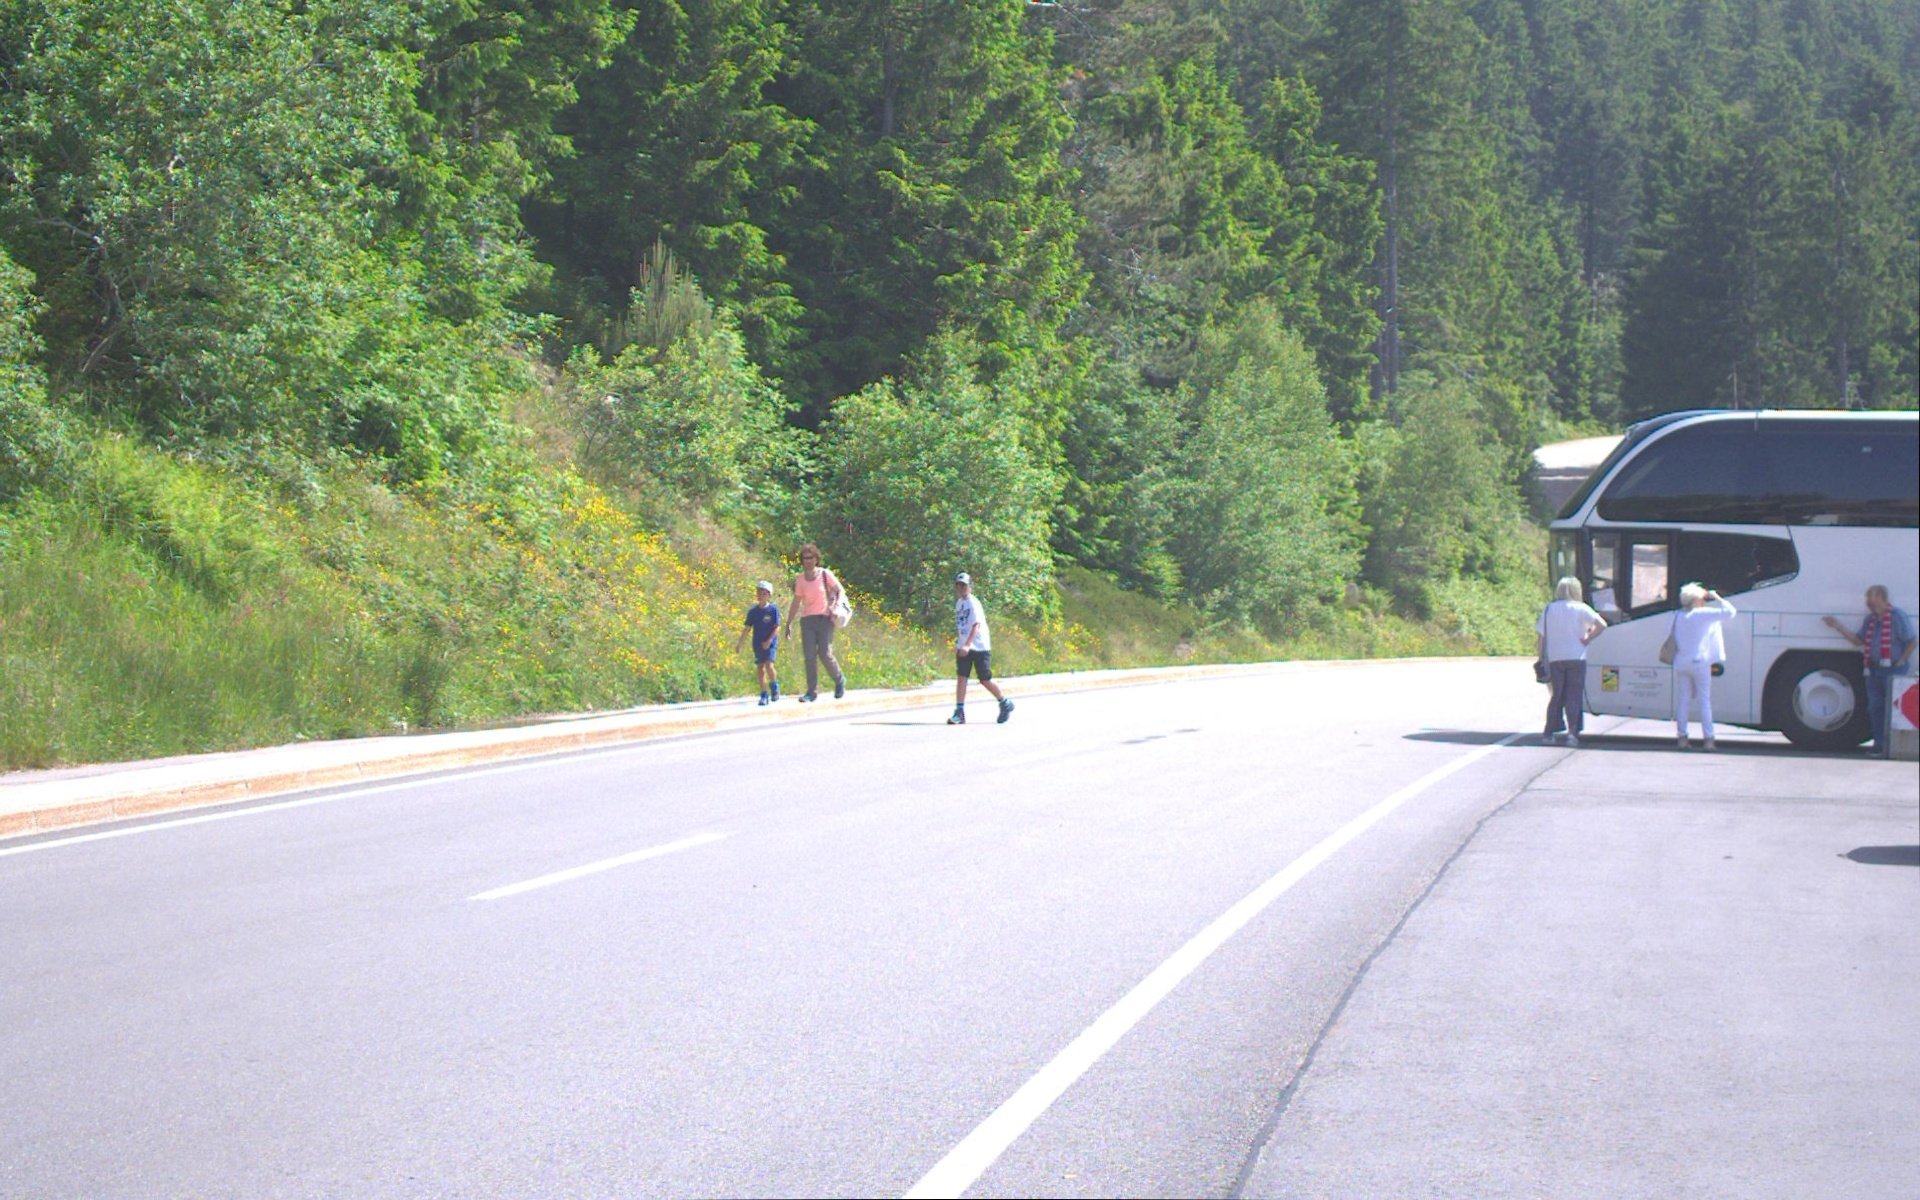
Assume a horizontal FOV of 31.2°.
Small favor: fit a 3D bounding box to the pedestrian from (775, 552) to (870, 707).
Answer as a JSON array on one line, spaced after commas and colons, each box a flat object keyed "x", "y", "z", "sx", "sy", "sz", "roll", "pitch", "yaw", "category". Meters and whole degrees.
[{"x": -1.512, "y": 0.316, "z": 38.023, "sx": 0.867, "sy": 1.677, "sz": 0.856, "roll": 1, "pitch": 1, "yaw": 10, "category": "pedestrian"}]

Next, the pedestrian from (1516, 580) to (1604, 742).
[{"x": 5.948, "y": 0.593, "z": 34.088, "sx": 0.771, "sy": 1.579, "sz": 0.772, "roll": 1, "pitch": 1, "yaw": 16, "category": "pedestrian"}]

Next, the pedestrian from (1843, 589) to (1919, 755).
[{"x": 9.000, "y": 0.690, "z": 33.397, "sx": 0.770, "sy": 1.579, "sz": 0.772, "roll": 1, "pitch": 1, "yaw": 17, "category": "pedestrian"}]

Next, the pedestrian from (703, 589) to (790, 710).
[{"x": -2.305, "y": 0.524, "z": 37.145, "sx": 0.781, "sy": 1.275, "sz": 0.736, "roll": 1, "pitch": 1, "yaw": 10, "category": "pedestrian"}]

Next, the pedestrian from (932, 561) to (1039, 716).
[{"x": 0.262, "y": 0.389, "z": 35.553, "sx": 0.853, "sy": 1.579, "sz": 0.818, "roll": 0, "pitch": 1, "yaw": -20, "category": "pedestrian"}]

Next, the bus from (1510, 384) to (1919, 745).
[{"x": 12.271, "y": -0.323, "z": 34.092, "sx": 13.106, "sy": 3.520, "sz": 3.041, "roll": 1, "pitch": 1, "yaw": 19, "category": "bus"}]

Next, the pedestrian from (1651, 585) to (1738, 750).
[{"x": 7.197, "y": 0.650, "z": 33.649, "sx": 0.771, "sy": 1.579, "sz": 0.772, "roll": 1, "pitch": 1, "yaw": 16, "category": "pedestrian"}]
